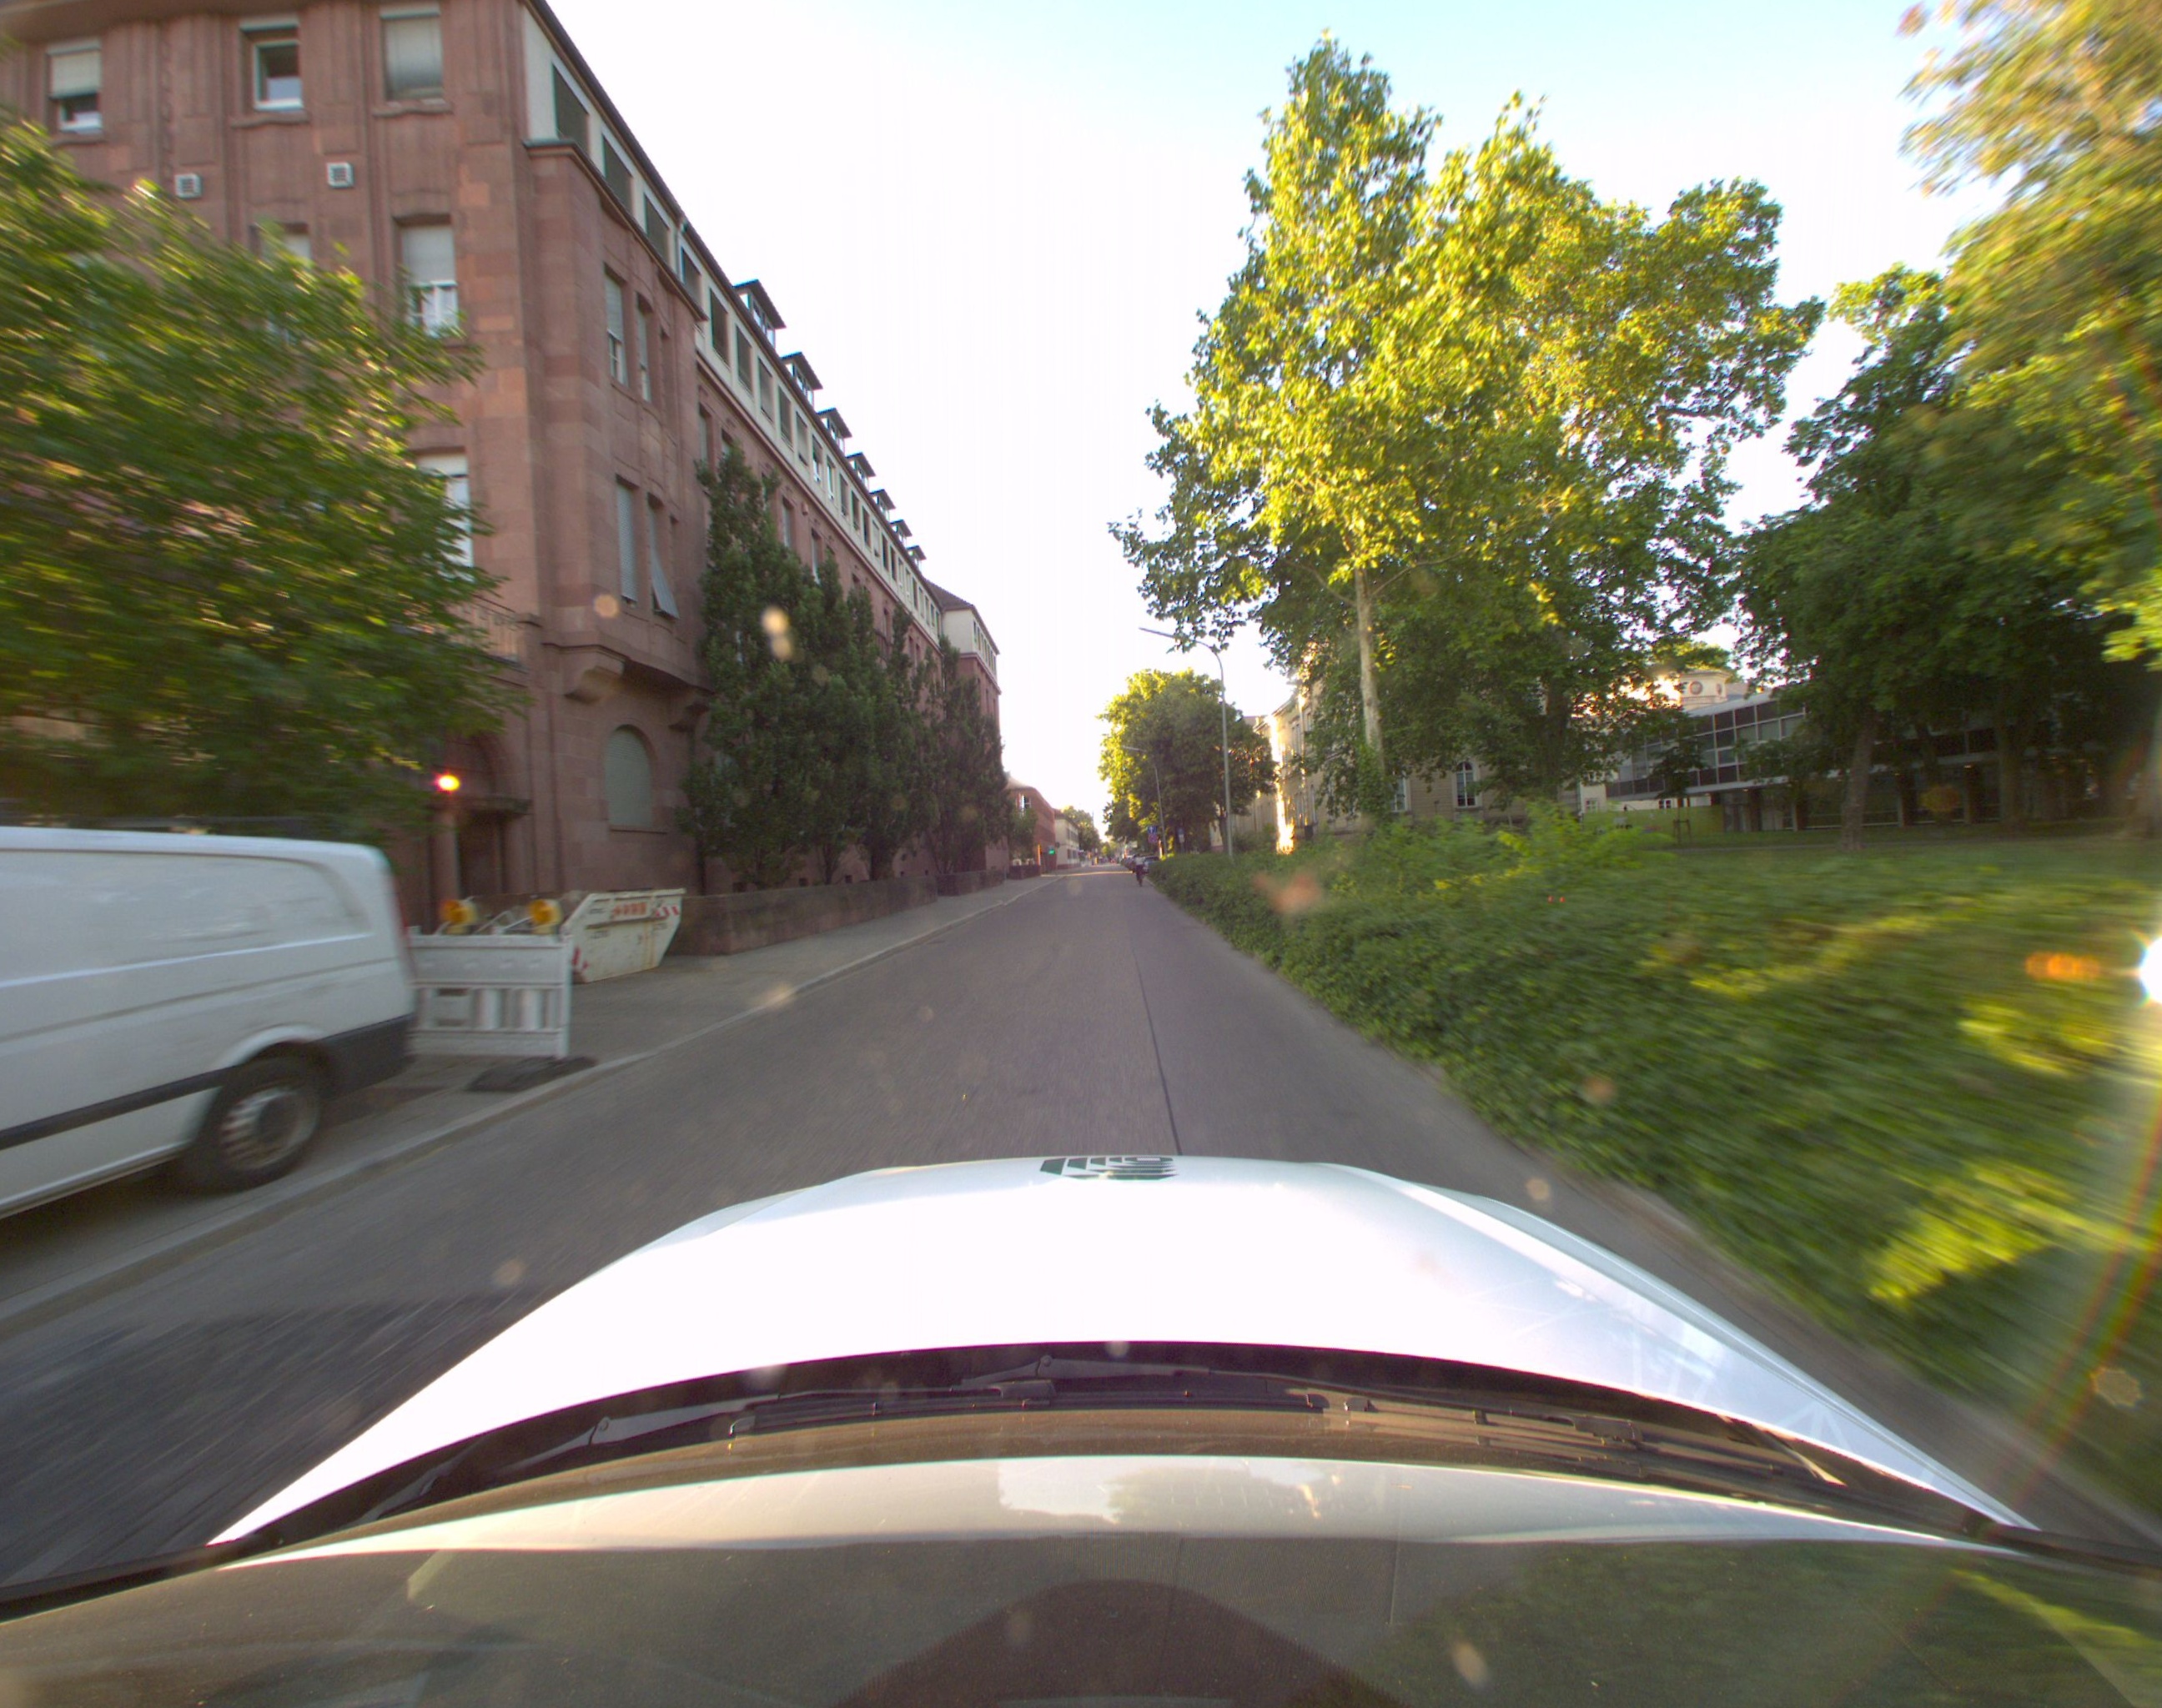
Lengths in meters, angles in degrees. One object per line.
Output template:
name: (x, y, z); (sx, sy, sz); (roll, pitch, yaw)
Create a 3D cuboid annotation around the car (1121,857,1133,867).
car: (8.507, 1.471, 149.830); (1.987, 1.749, 4.001); (-4, 0, 1)

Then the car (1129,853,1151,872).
car: (5.473, 0.767, 75.589); (1.710, 1.537, 4.048); (-4, 0, 0)

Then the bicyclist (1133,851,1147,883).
bicyclist: (3.125, 0.702, 43.211); (0.637, 1.667, 0.842); (-2, 0, 0)

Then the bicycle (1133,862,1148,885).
bicycle: (3.132, 1.016, 43.096); (0.636, 1.193, 1.876); (-2, 0, 0)

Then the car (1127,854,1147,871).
car: (6.277, 0.908, 91.422); (1.987, 1.706, 4.001); (-4, 0, 1)

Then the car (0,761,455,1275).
car: (-5.199, 0.686, 2.837); (1.876, 2.014, 5.225); (-4, -1, 0)

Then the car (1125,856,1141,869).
car: (7.136, 1.135, 112.050); (1.987, 1.585, 4.001); (-4, 0, 1)

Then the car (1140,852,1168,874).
car: (5.533, 0.691, 61.771); (1.680, 1.447, 3.671); (-6, -1, 0)
